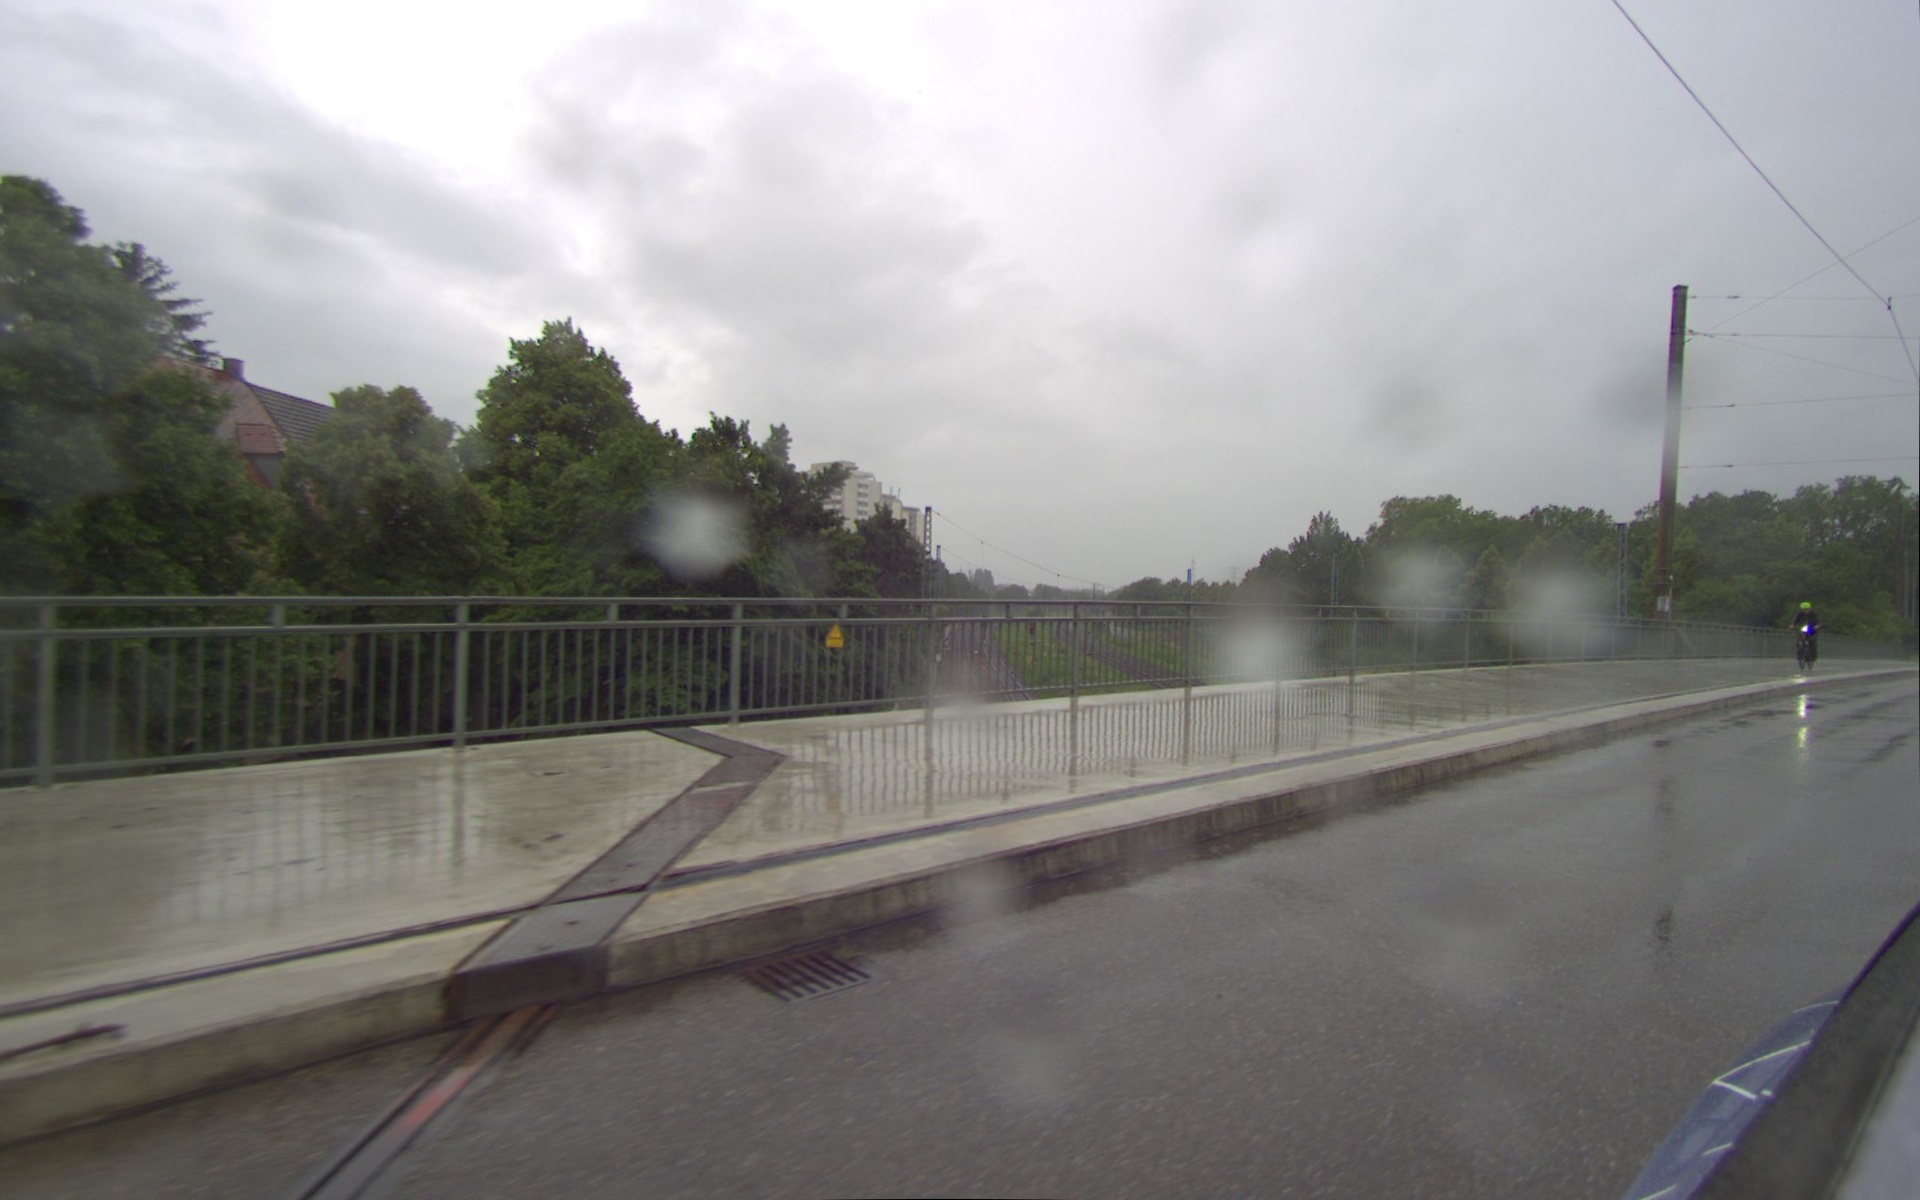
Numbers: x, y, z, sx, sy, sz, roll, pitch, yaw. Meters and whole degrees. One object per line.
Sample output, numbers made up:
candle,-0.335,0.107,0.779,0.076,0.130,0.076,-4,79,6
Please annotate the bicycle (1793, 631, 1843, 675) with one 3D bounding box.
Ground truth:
bicycle,23.117,1.405,27.264,2.130,1.143,0.724,2,-2,-41

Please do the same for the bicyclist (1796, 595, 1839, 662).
bicyclist,23.084,0.755,27.242,0.932,1.786,0.726,1,-1,-41
